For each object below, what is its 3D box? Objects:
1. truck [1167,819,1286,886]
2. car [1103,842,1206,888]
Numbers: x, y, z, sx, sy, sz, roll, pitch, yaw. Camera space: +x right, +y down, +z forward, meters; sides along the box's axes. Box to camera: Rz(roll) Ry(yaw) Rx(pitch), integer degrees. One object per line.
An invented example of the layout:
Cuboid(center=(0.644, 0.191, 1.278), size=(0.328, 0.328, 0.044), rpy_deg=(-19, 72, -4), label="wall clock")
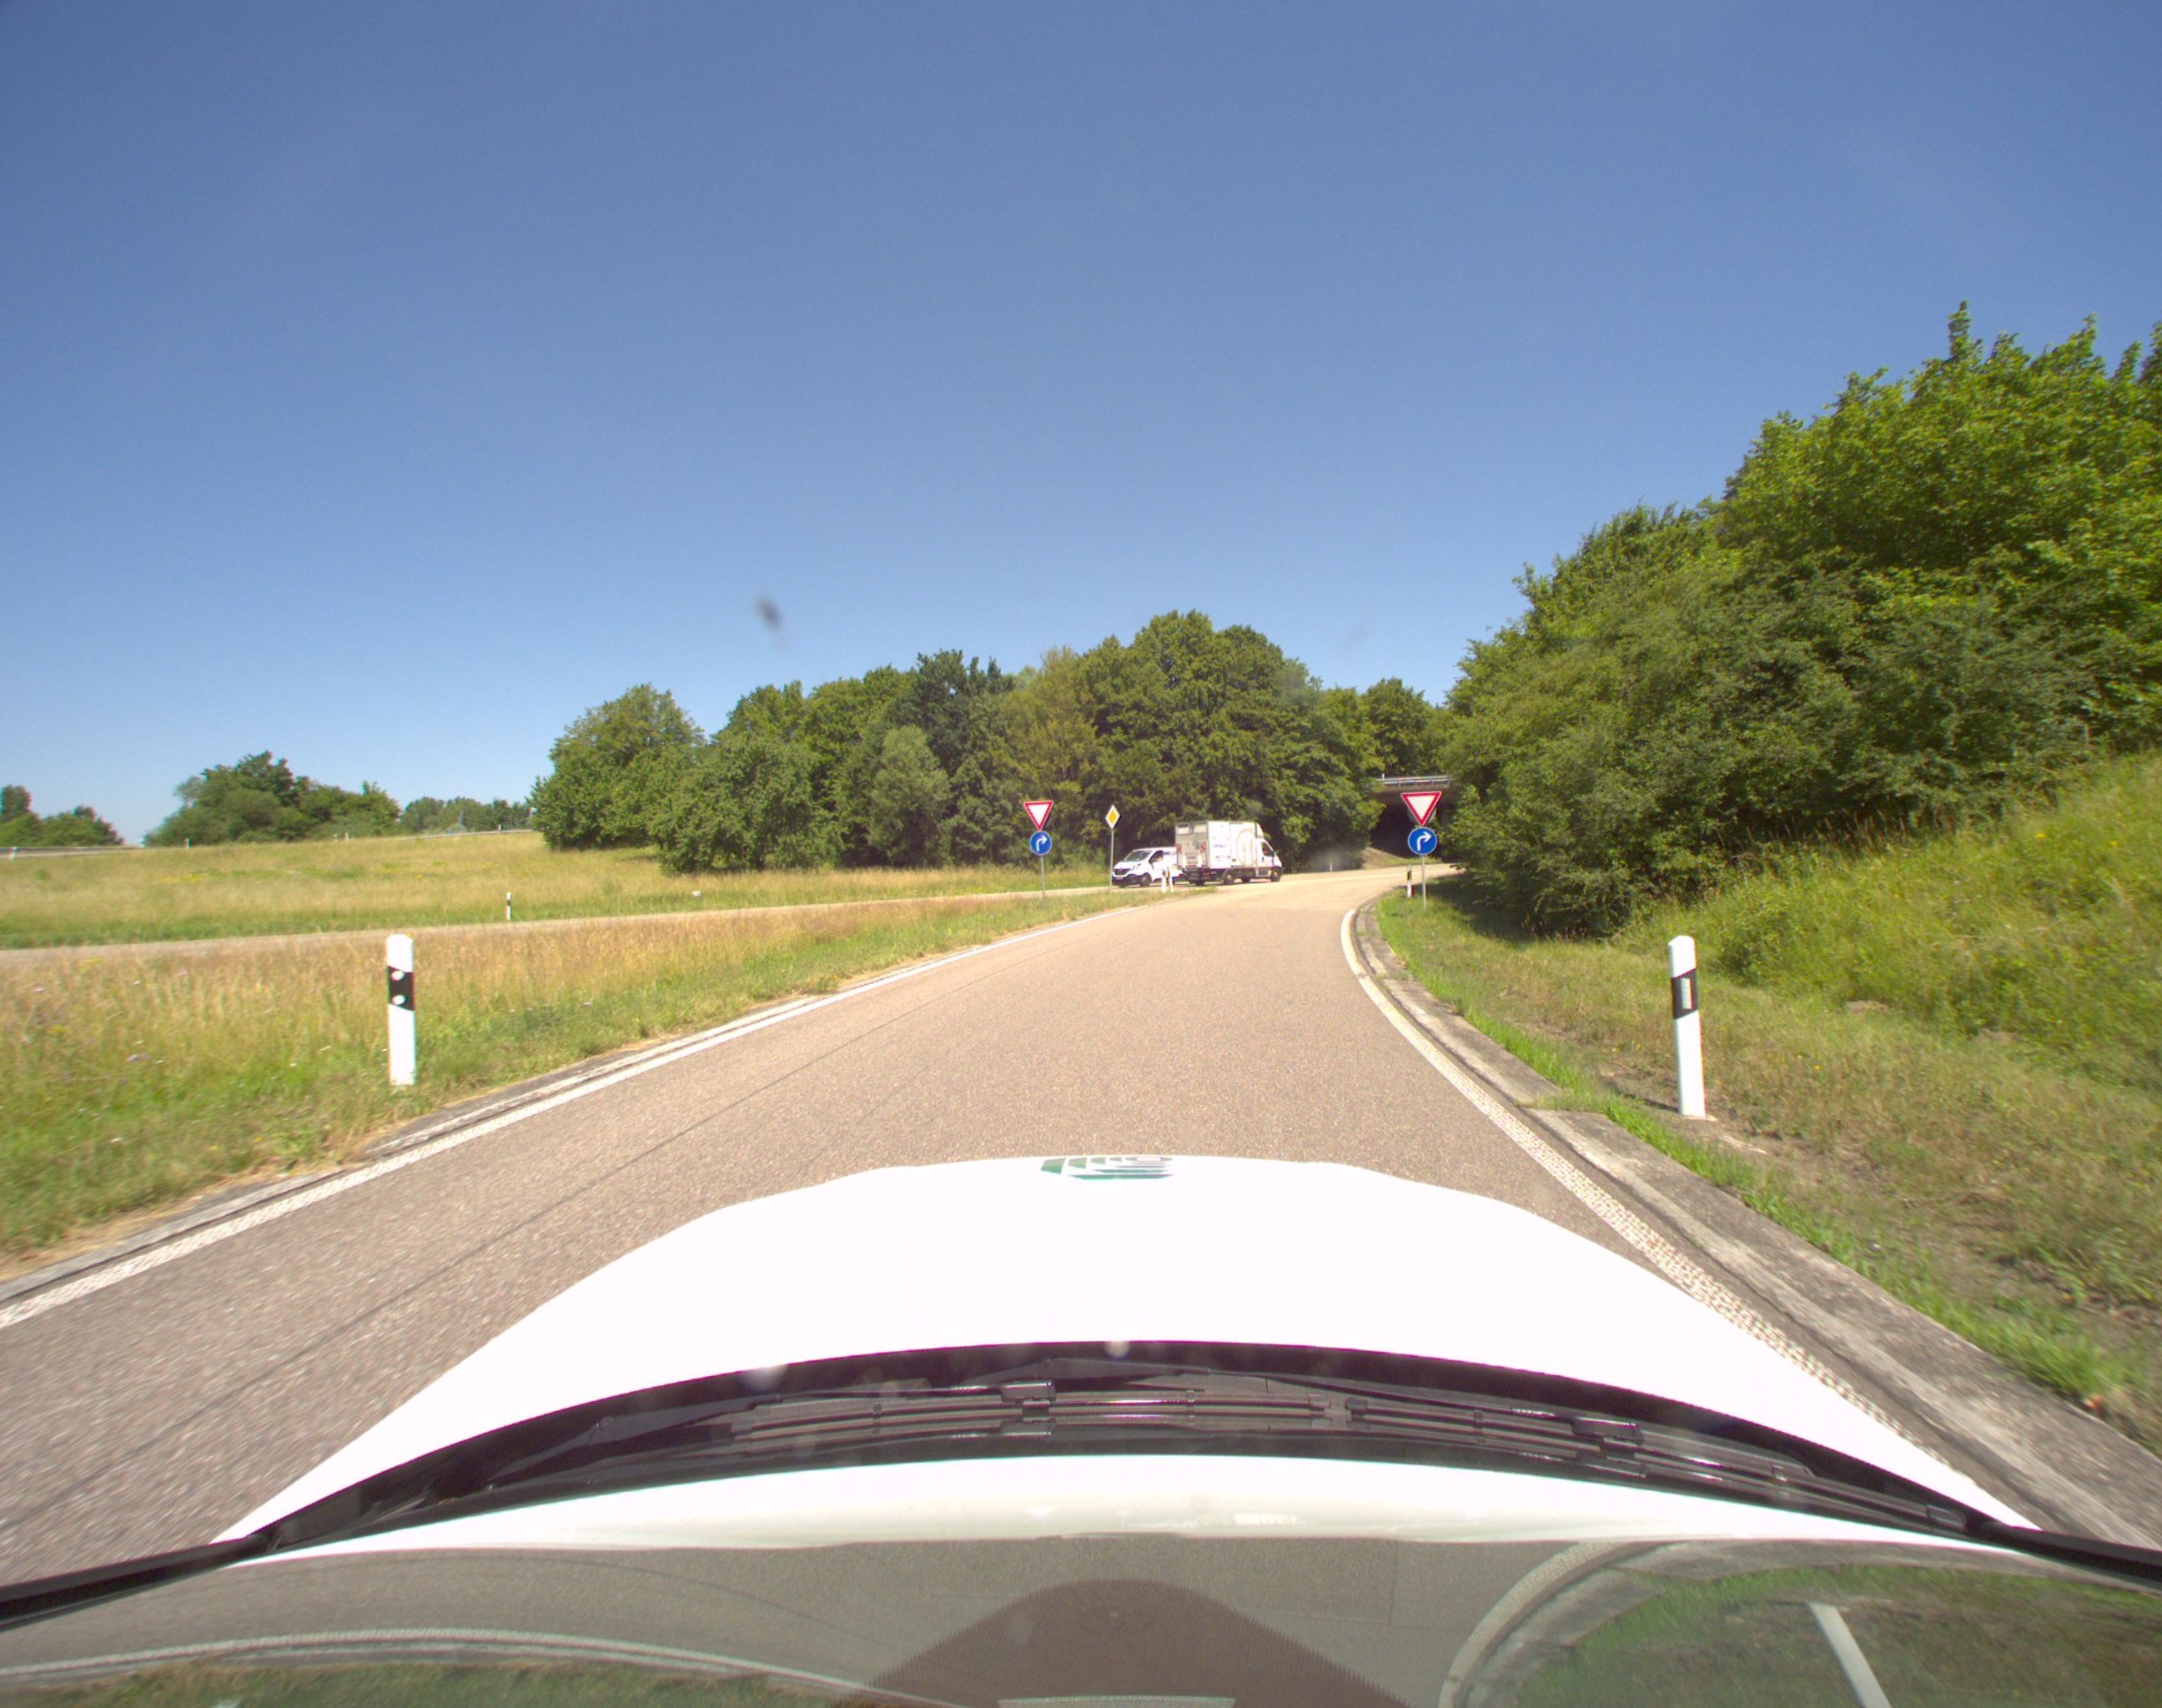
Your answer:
Cuboid(center=(7.012, -0.100, 38.770), size=(5.925, 2.985, 2.221), rpy_deg=(-1, -1, -40), label="truck")
Cuboid(center=(3.801, 0.546, 41.459), size=(5.424, 1.960, 1.892), rpy_deg=(-4, 1, -42), label="car")
